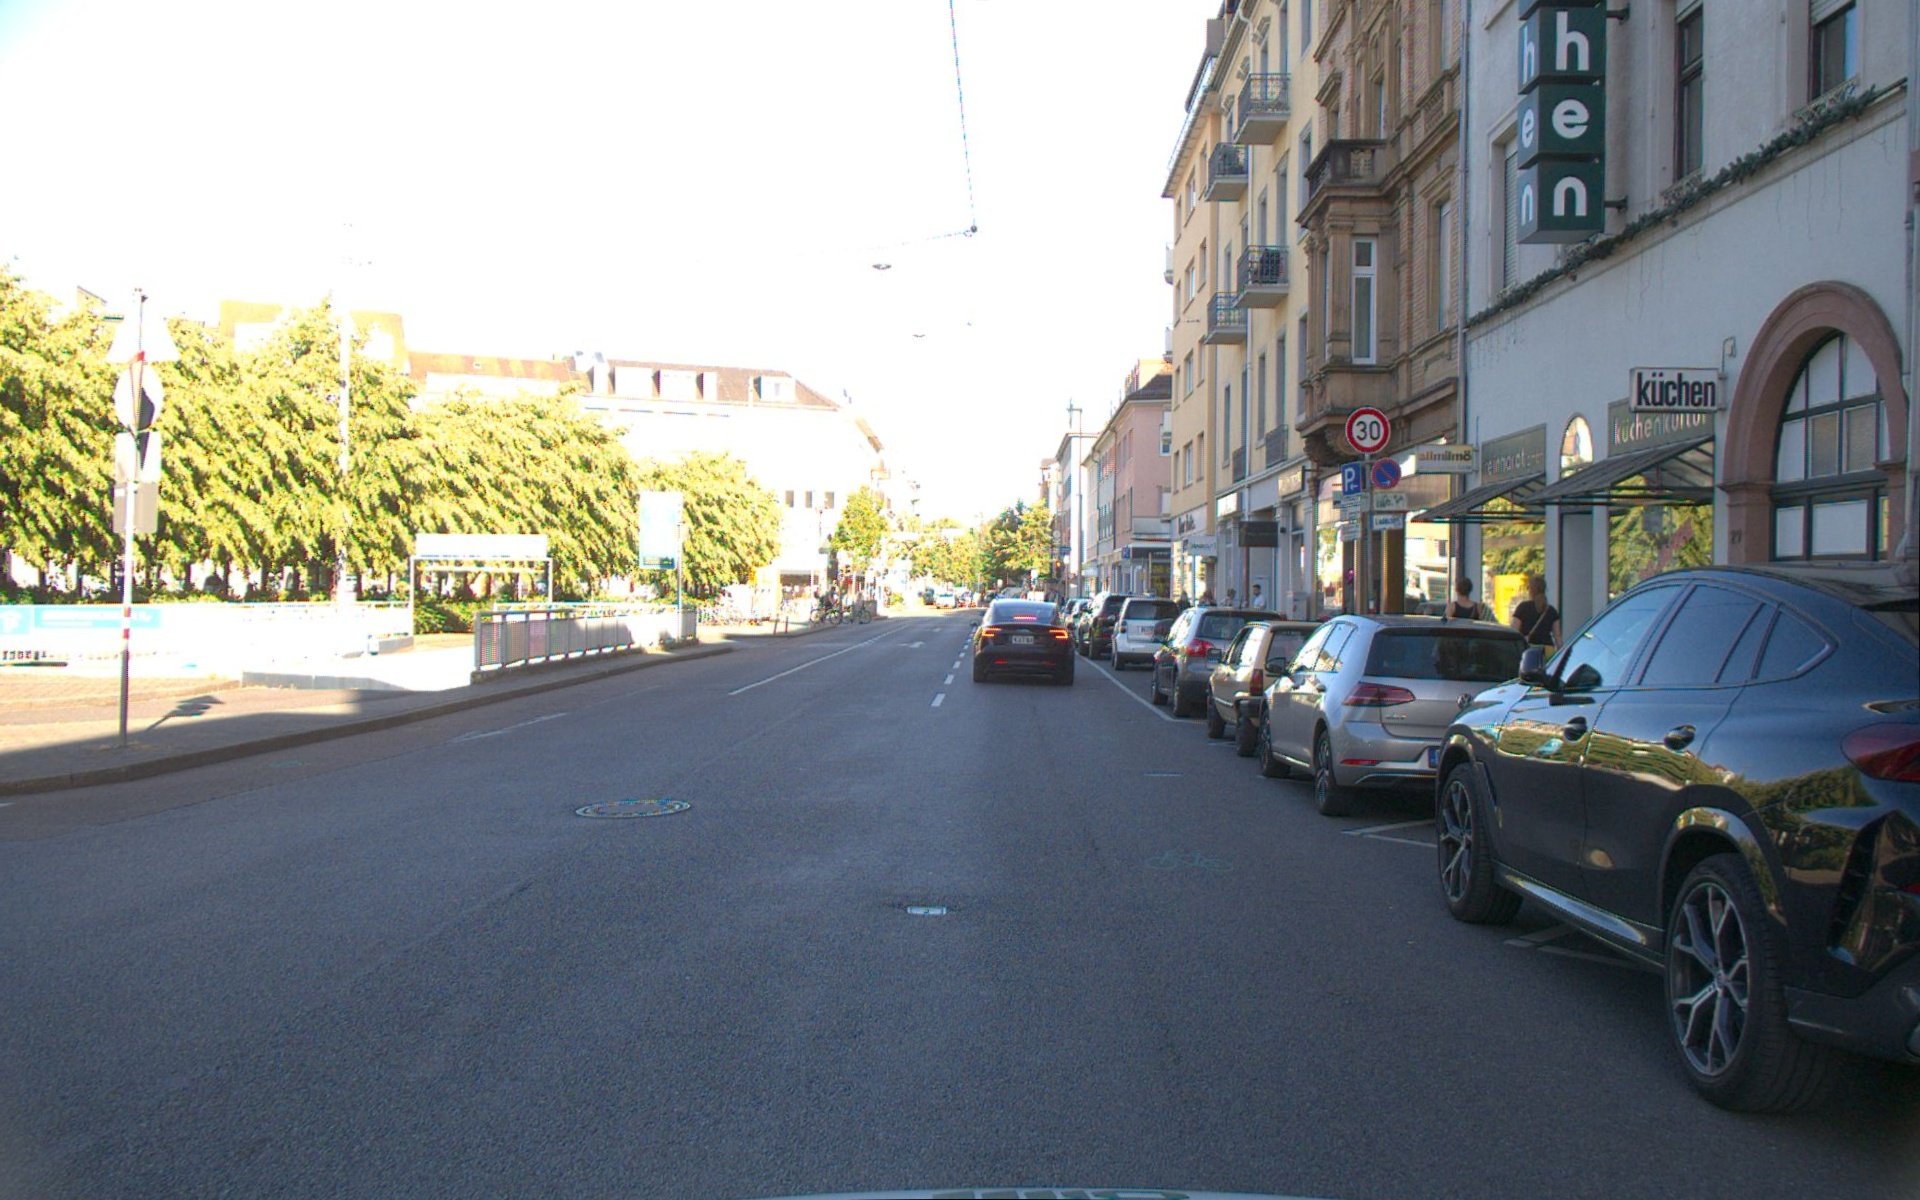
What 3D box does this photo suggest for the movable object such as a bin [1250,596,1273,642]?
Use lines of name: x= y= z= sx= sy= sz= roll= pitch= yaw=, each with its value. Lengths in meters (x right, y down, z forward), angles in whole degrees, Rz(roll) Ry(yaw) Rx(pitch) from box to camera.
movable object such as a bin: x=7.105 y=0.449 z=38.992 sx=0.446 sy=1.070 sz=0.500 roll=-1 pitch=0 yaw=0

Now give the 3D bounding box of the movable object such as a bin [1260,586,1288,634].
movable object such as a bin: x=7.085 y=0.223 z=37.345 sx=0.485 sy=1.070 sz=0.632 roll=-1 pitch=0 yaw=0

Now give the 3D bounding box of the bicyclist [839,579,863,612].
bicyclist: x=-5.557 y=-0.233 z=84.430 sx=1.122 sy=1.715 sz=0.915 roll=0 pitch=0 yaw=4

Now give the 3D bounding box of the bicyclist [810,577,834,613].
bicyclist: x=-6.645 y=-0.246 z=79.787 sx=1.123 sy=1.715 sz=0.919 roll=0 pitch=0 yaw=-2

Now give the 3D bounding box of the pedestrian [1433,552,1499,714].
pedestrian: x=5.667 y=0.361 z=18.548 sx=0.607 sy=1.797 sz=0.519 roll=0 pitch=0 yaw=4

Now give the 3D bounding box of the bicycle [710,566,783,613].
bicycle: x=-9.478 y=-0.470 z=73.427 sx=3.054 sy=2.049 sz=0.910 roll=1 pitch=0 yaw=10

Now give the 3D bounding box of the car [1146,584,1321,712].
car: x=3.795 y=0.604 z=23.625 sx=1.801 sy=1.573 sz=4.229 roll=2 pitch=1 yaw=0

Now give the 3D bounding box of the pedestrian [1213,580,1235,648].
pedestrian: x=6.555 y=0.343 z=41.079 sx=0.460 sy=1.664 sz=0.513 roll=1 pitch=0 yaw=17

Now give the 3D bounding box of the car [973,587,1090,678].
car: x=1.237 y=0.566 z=30.447 sx=1.954 sy=1.506 sz=4.495 roll=2 pitch=0 yaw=0

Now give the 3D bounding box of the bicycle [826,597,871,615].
bicycle: x=-5.685 y=0.317 z=84.441 sx=2.196 sy=0.898 sz=0.924 roll=1 pitch=0 yaw=5

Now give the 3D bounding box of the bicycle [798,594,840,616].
bicycle: x=-6.796 y=0.233 z=79.776 sx=1.971 sy=1.040 sz=0.887 roll=0 pitch=0 yaw=-2

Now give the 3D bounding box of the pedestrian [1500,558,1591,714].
pedestrian: x=6.550 y=0.398 z=18.523 sx=0.784 sy=1.704 sz=0.590 roll=-2 pitch=0 yaw=4

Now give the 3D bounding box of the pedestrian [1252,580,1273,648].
pedestrian: x=7.567 y=0.345 z=41.361 sx=0.460 sy=1.664 sz=0.513 roll=1 pitch=0 yaw=6

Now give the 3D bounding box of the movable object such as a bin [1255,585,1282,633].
movable object such as a bin: x=7.091 y=0.204 z=38.026 sx=0.469 sy=1.070 sz=0.632 roll=-1 pitch=0 yaw=0

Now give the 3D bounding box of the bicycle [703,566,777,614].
bicycle: x=-9.613 y=-0.445 z=72.392 sx=3.054 sy=2.049 sz=0.910 roll=1 pitch=0 yaw=10

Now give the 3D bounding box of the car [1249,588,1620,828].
car: x=3.531 y=0.706 z=13.136 sx=1.801 sy=1.513 sz=4.185 roll=2 pitch=1 yaw=1

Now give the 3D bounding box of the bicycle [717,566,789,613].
bicycle: x=-9.299 y=-0.490 z=74.467 sx=3.054 sy=2.049 sz=0.910 roll=1 pitch=0 yaw=10

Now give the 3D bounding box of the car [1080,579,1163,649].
car: x=4.087 y=0.348 z=42.383 sx=1.681 sy=1.664 sz=4.084 roll=1 pitch=0 yaw=-1

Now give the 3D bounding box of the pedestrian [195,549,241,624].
pedestrian: x=-21.484 y=-0.388 z=47.895 sx=0.717 sy=2.145 sz=0.967 roll=1 pitch=0 yaw=23

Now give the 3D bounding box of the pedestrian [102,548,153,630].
pedestrian: x=-22.218 y=-0.293 z=44.157 sx=0.717 sy=2.145 sz=0.967 roll=1 pitch=0 yaw=23

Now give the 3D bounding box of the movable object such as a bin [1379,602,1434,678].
movable object such as a bin: x=6.838 y=0.605 z=25.350 sx=0.665 sy=1.115 sz=0.626 roll=-1 pitch=0 yaw=1

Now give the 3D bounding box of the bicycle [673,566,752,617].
bicycle: x=-10.222 y=-0.360 z=68.326 sx=3.054 sy=2.049 sz=0.910 roll=1 pitch=0 yaw=10

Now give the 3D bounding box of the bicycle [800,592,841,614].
bicycle: x=-6.958 y=0.152 z=82.421 sx=1.971 sy=1.040 sz=0.762 roll=0 pitch=0 yaw=-2

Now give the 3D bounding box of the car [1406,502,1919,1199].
car: x=3.311 y=0.626 z=6.390 sx=1.933 sy=1.755 sz=4.825 roll=2 pitch=1 yaw=1

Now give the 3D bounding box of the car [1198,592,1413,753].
car: x=3.625 y=0.691 z=17.944 sx=1.575 sy=1.474 sz=3.831 roll=2 pitch=1 yaw=1

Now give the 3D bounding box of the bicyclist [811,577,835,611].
bicyclist: x=-6.813 y=-0.296 z=82.430 sx=1.123 sy=1.715 sz=0.819 roll=0 pitch=0 yaw=-2

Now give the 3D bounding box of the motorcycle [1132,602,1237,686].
motorcycle: x=3.781 y=0.708 z=27.764 sx=2.029 sy=1.351 sz=0.646 roll=0 pitch=0 yaw=-45

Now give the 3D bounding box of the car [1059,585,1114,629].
car: x=4.536 y=0.259 z=59.626 sx=1.755 sy=1.485 sz=3.868 roll=1 pitch=0 yaw=1

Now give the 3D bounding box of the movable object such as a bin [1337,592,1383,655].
movable object such as a bin: x=6.930 y=0.399 z=28.669 sx=0.631 sy=1.070 sz=0.632 roll=-1 pitch=0 yaw=0

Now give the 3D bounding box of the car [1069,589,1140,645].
car: x=4.113 y=0.478 z=47.644 sx=1.755 sy=1.485 sz=4.085 roll=1 pitch=0 yaw=1

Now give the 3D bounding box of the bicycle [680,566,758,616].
bicycle: x=-10.087 y=-0.366 z=69.280 sx=3.054 sy=2.049 sz=0.910 roll=1 pitch=0 yaw=10

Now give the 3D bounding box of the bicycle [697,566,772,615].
bicycle: x=-9.737 y=-0.417 z=71.311 sx=3.054 sy=2.049 sz=0.910 roll=1 pitch=0 yaw=10

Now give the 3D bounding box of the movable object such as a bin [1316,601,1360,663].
movable object such as a bin: x=6.966 y=0.579 z=30.538 sx=0.631 sy=1.094 sz=0.820 roll=-1 pitch=0 yaw=2

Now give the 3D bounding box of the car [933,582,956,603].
car: x=-1.496 y=-0.727 z=157.673 sx=1.952 sy=1.802 sz=4.002 roll=1 pitch=1 yaw=2

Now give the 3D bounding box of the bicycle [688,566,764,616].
bicycle: x=-9.926 y=-0.395 z=70.269 sx=3.054 sy=2.049 sz=0.910 roll=1 pitch=0 yaw=10

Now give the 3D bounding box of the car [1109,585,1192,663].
car: x=4.172 y=0.498 z=36.552 sx=1.580 sy=1.573 sz=2.856 roll=2 pitch=1 yaw=2

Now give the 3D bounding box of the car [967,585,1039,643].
car: x=1.259 y=0.354 z=46.487 sx=1.894 sy=1.513 sz=4.273 roll=1 pitch=1 yaw=3

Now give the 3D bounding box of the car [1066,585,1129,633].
car: x=4.556 y=0.308 z=55.353 sx=1.755 sy=1.485 sz=3.868 roll=1 pitch=0 yaw=0
